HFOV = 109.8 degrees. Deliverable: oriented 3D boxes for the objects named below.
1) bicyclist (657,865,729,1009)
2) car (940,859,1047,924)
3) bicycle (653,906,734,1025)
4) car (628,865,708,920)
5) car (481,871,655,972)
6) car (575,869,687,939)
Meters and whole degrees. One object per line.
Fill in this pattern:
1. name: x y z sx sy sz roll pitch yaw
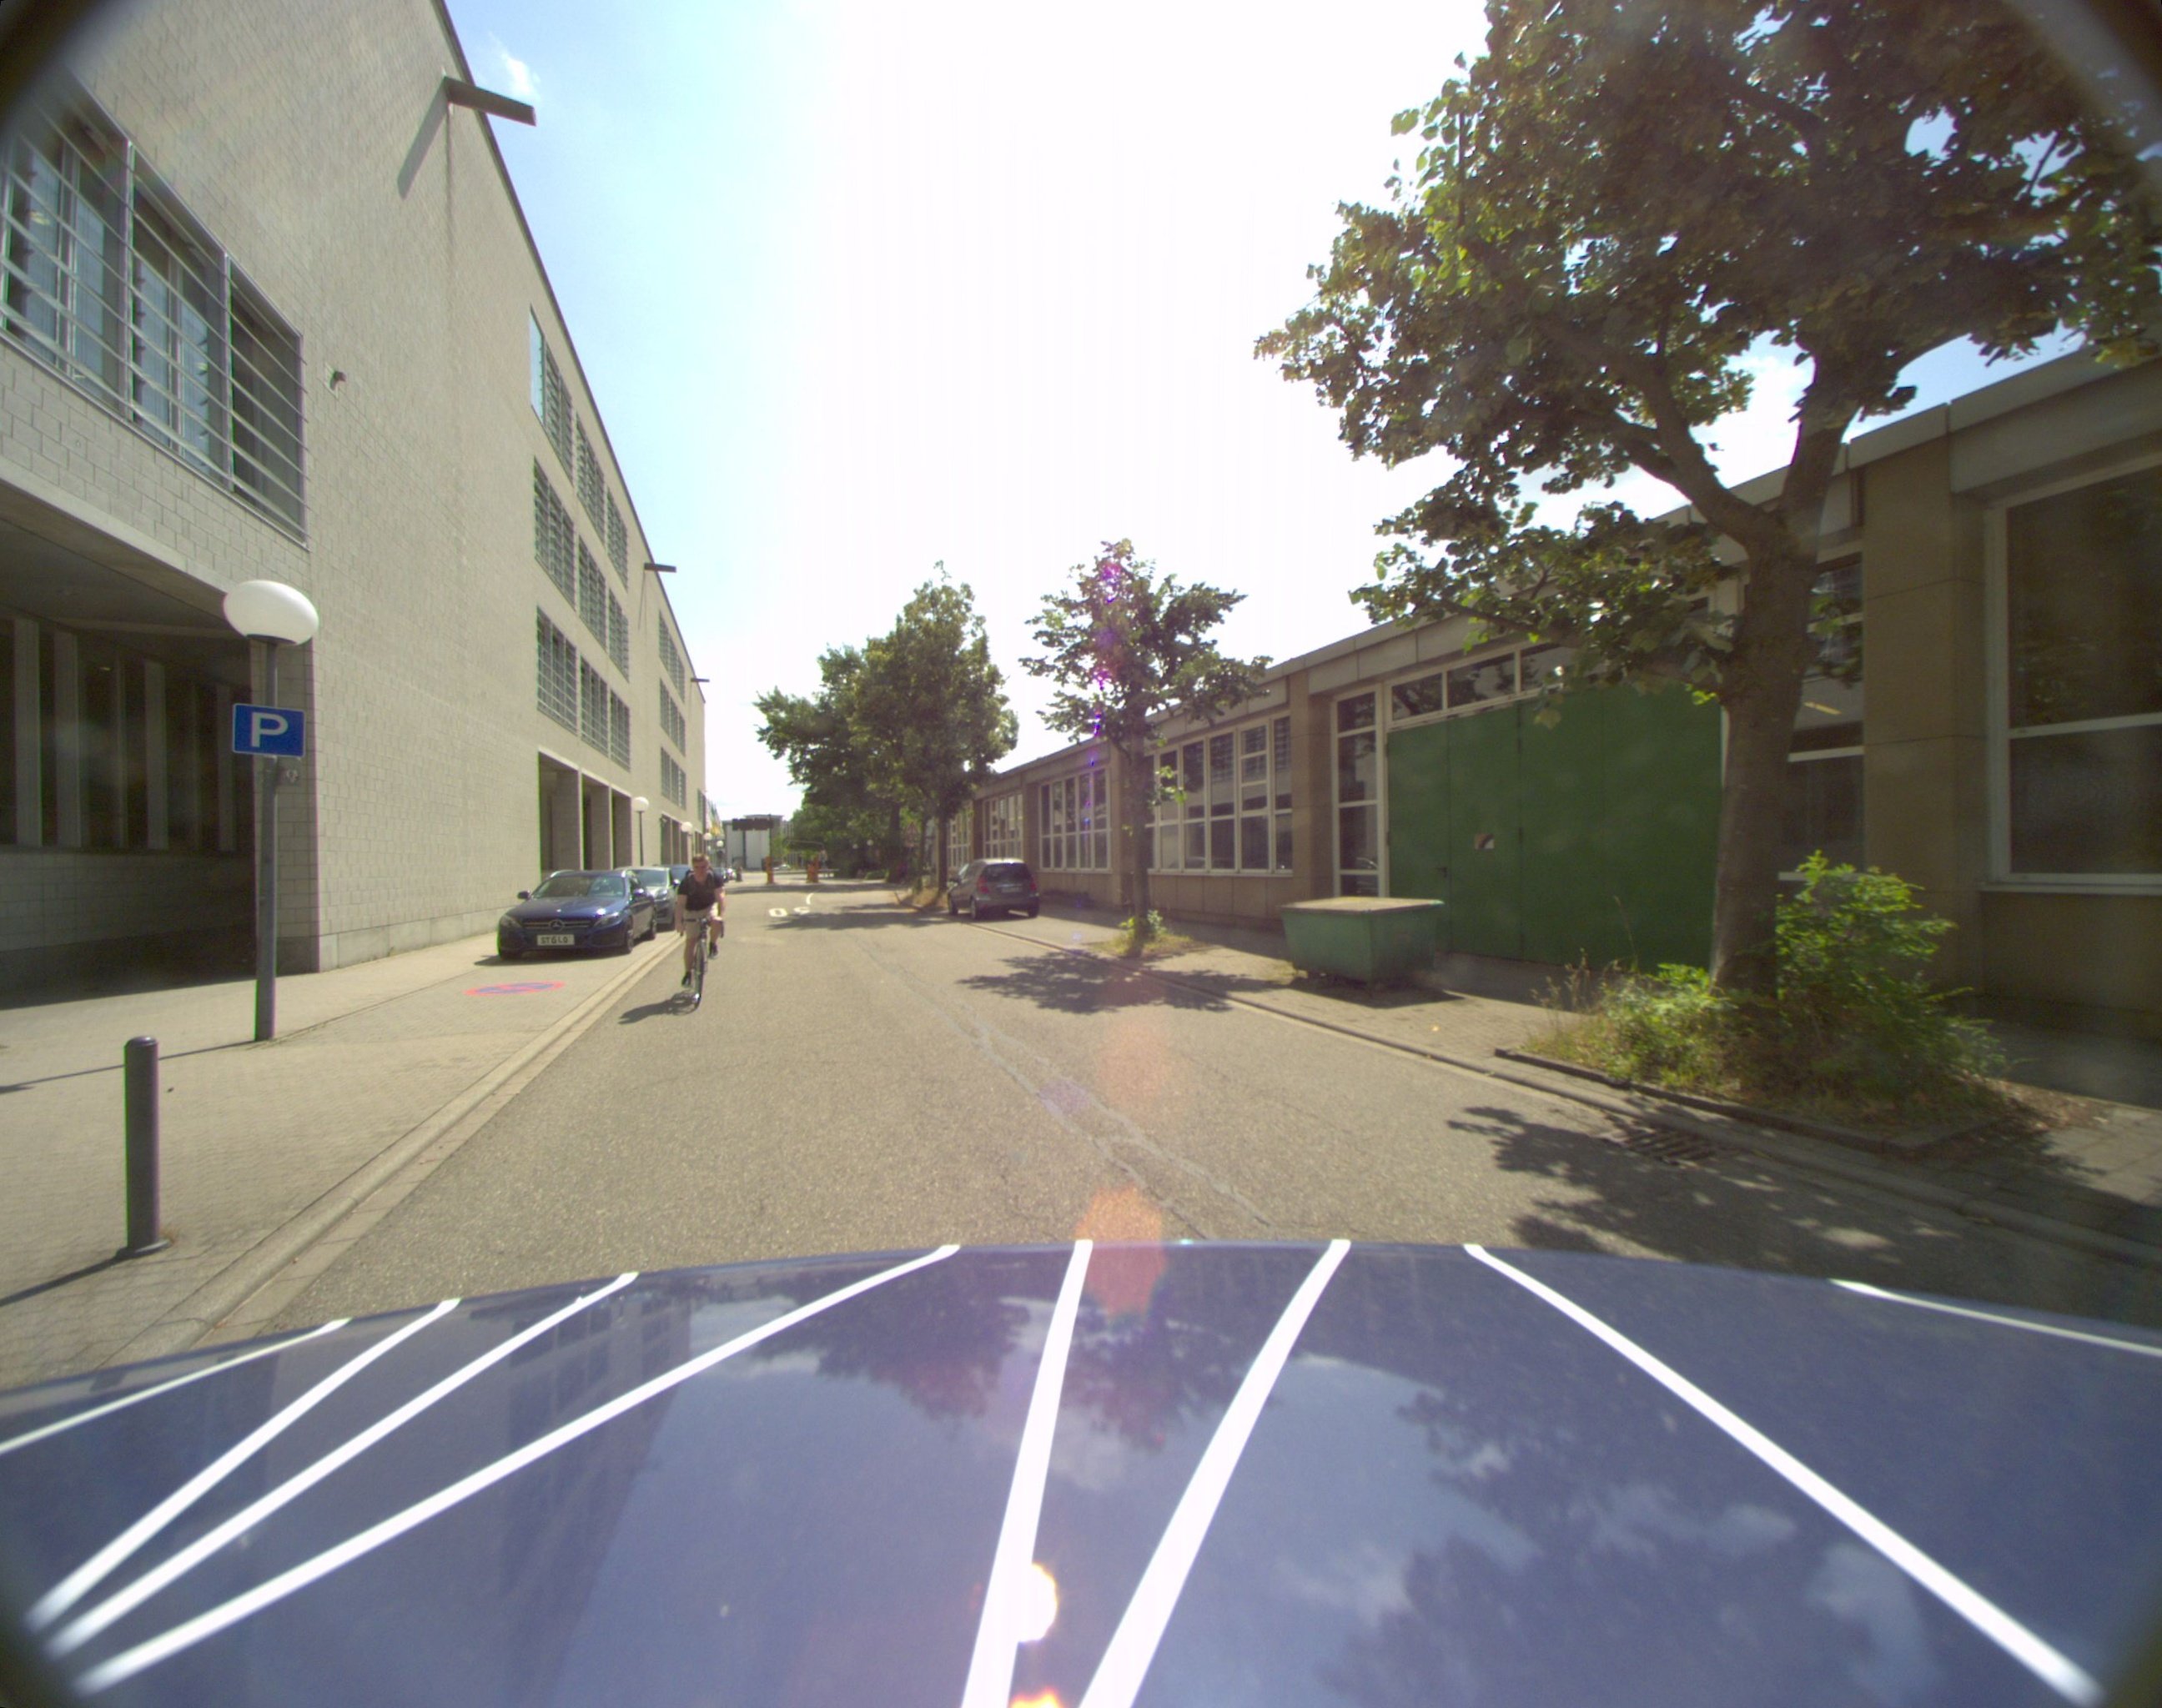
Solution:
1. bicyclist: -4.364 0.892 8.582 0.605 1.526 0.726 -2 1 -20
2. car: -2.571 0.971 21.394 1.854 1.569 4.126 -2 0 -23
3. bicycle: -4.445 1.217 8.822 0.605 1.101 1.827 -2 0 -20
4. car: -13.074 1.153 24.265 1.854 1.572 4.126 -1 0 -23
5. car: -9.038 1.080 13.782 1.854 1.467 4.126 -1 0 -23
6. car: -10.983 1.128 18.831 1.854 1.467 4.126 -1 0 -23
